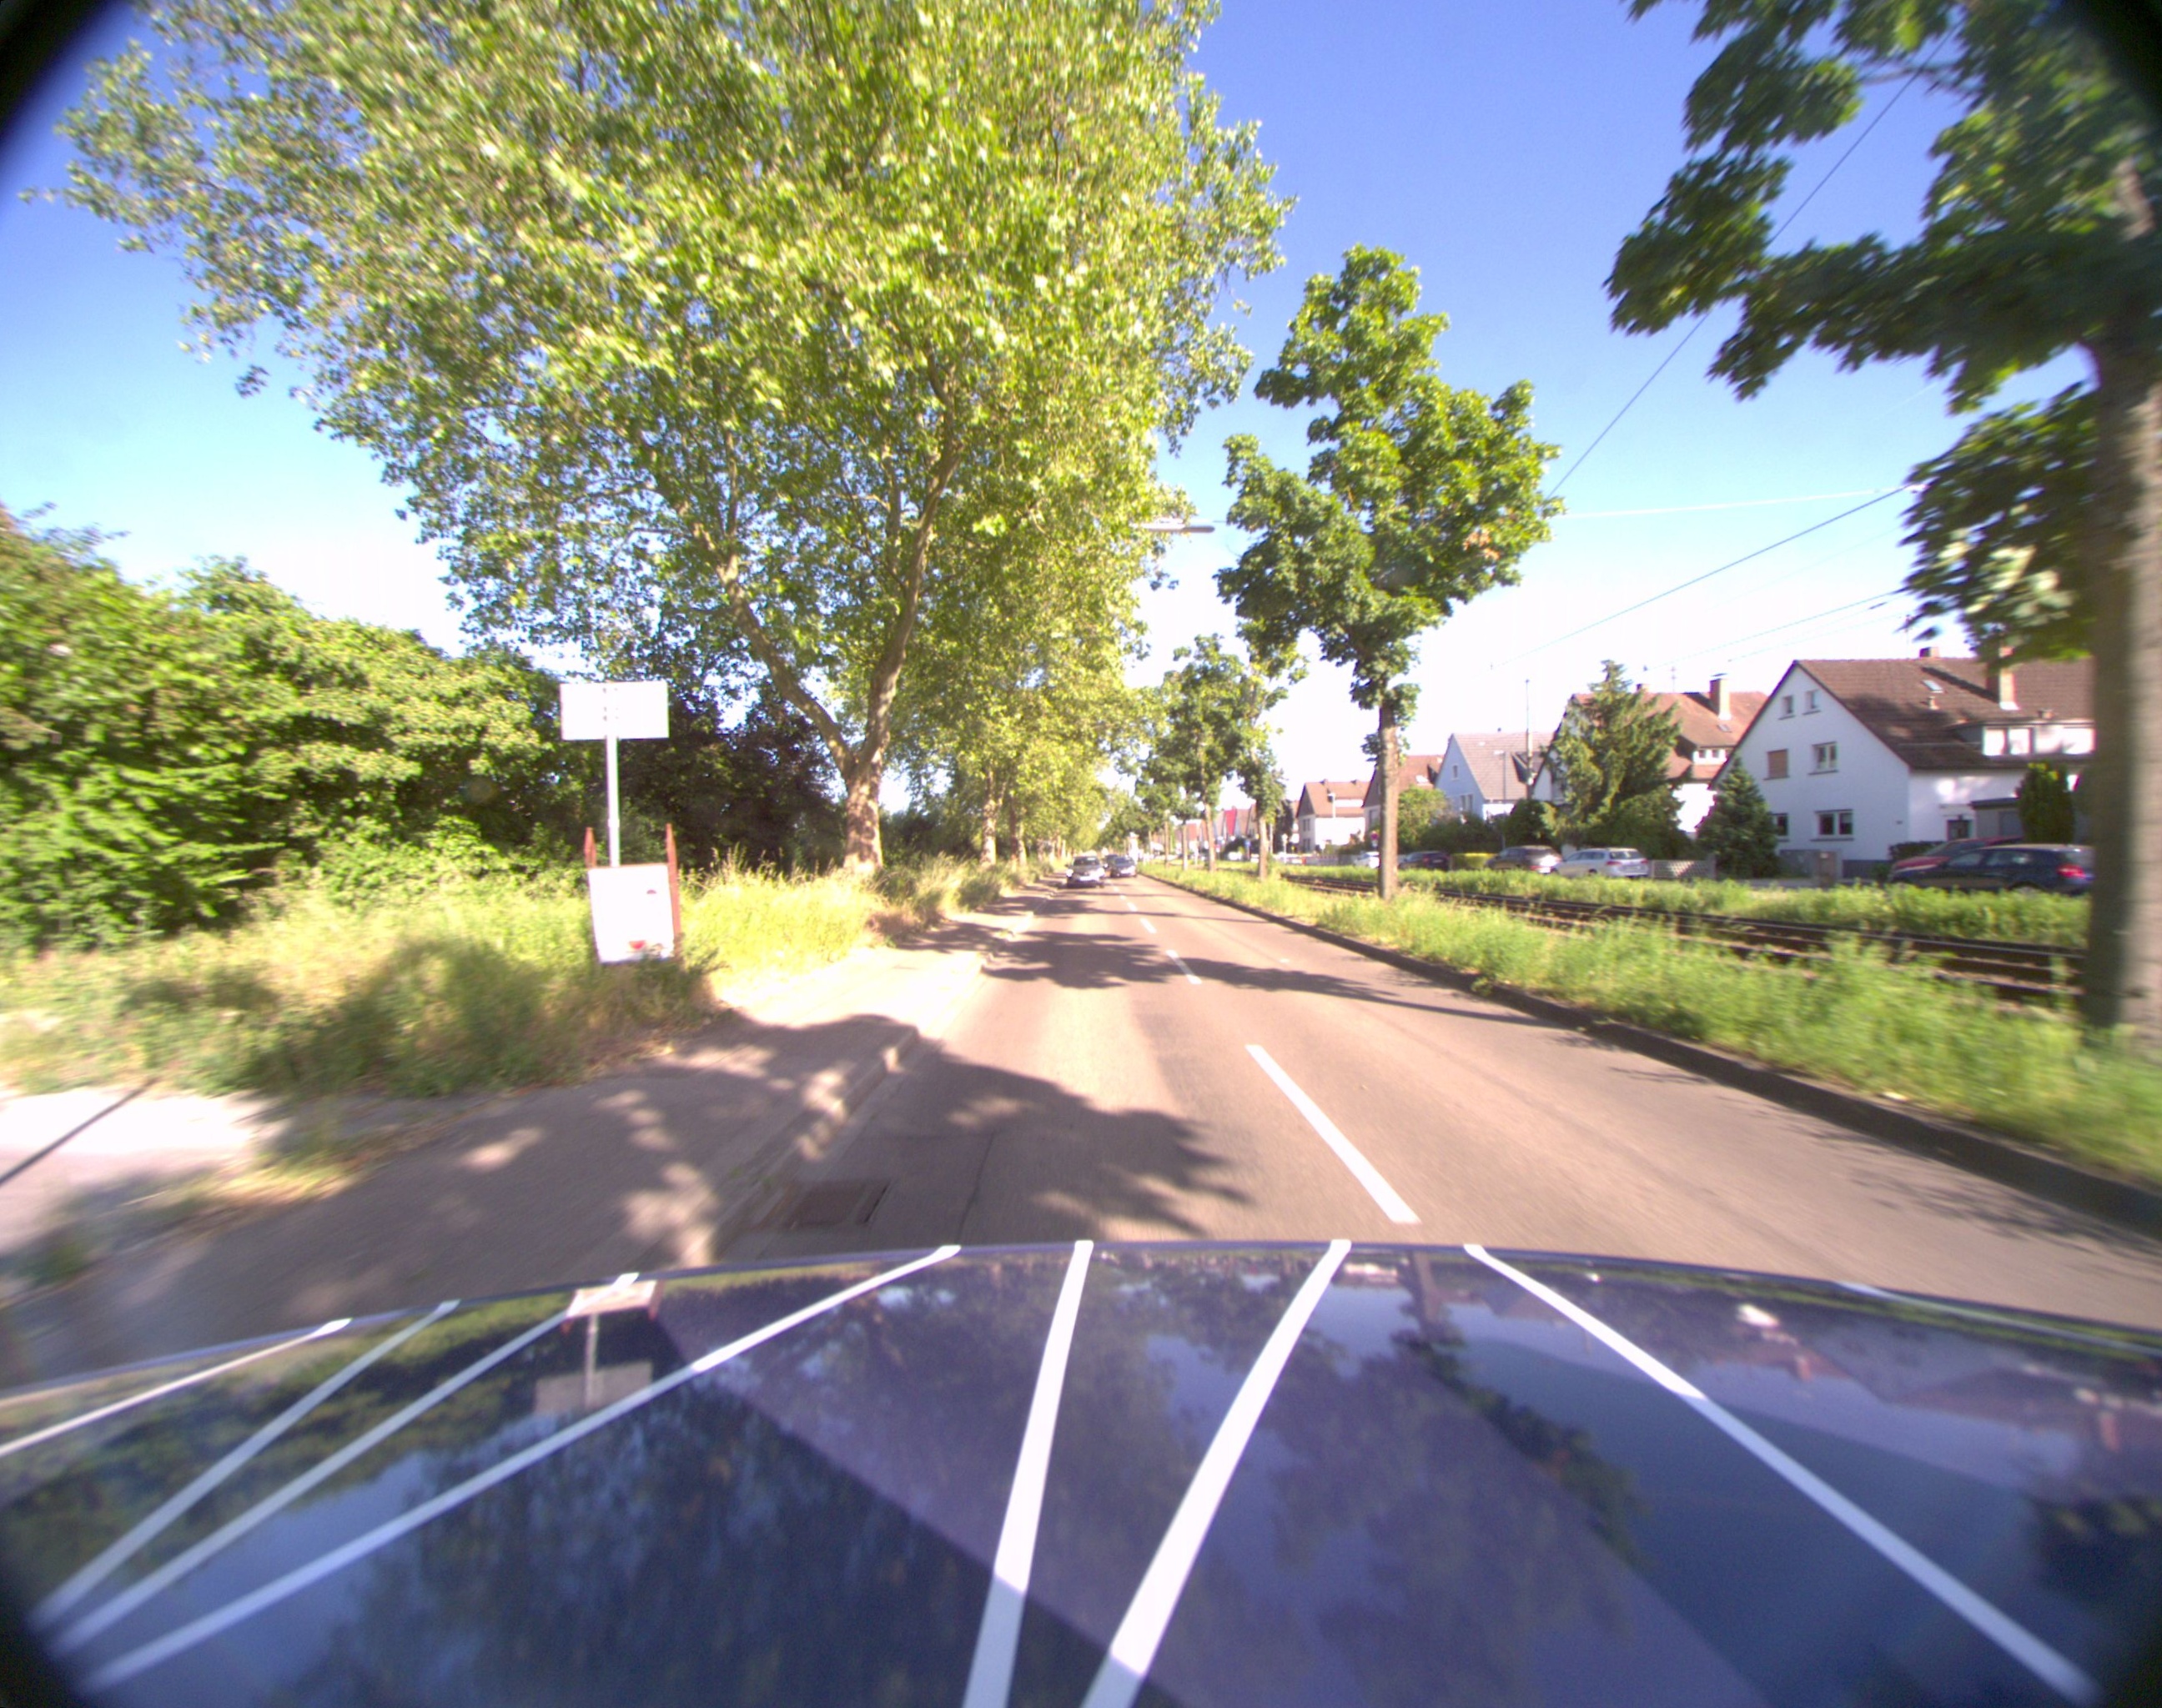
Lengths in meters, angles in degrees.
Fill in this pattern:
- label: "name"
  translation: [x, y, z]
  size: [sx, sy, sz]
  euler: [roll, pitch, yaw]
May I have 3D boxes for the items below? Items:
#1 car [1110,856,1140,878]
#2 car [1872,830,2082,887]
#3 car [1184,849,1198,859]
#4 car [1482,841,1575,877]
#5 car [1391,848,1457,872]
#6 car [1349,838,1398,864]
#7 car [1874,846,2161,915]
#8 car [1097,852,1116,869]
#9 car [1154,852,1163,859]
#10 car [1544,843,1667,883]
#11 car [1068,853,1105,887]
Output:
- label: "car"
  translation: [3.008, 0.868, 52.725]
  size: [1.780, 1.441, 4.333]
  euler: [-1, 0, -1]
- label: "car"
  translation: [27.550, 0.127, 23.460]
  size: [4.488, 1.462, 1.747]
  euler: [-3, 1, -1]
- label: "car"
  translation: [18.631, -0.019, 128.728]
  size: [1.786, 1.674, 4.000]
  euler: [-1, 0, 2]
- label: "car"
  translation: [21.698, 0.233, 37.082]
  size: [1.888, 1.552, 4.536]
  euler: [-3, 0, 1]
- label: "car"
  translation: [21.837, 0.333, 48.587]
  size: [1.998, 1.333, 4.981]
  euler: [-2, 1, 1]
- label: "car"
  translation: [22.076, -0.222, 57.627]
  size: [1.998, 1.852, 4.584]
  euler: [-1, 0, 1]
- label: "car"
  translation: [21.637, 0.529, 17.647]
  size: [1.998, 1.363, 4.310]
  euler: [-1, 0, 1]
- label: "car"
  translation: [2.560, 0.614, 76.351]
  size: [1.779, 1.620, 4.288]
  euler: [-1, 0, 0]
- label: "car"
  translation: [18.857, 0.304, 185.363]
  size: [1.731, 1.581, 4.000]
  euler: [-1, 0, 1]
- label: "car"
  translation: [21.931, 0.329, 32.028]
  size: [1.888, 1.464, 4.838]
  euler: [-3, 0, 1]
- label: "car"
  translation: [0.241, 0.757, 37.065]
  size: [1.673, 1.529, 3.585]
  euler: [-1, 0, 0]
